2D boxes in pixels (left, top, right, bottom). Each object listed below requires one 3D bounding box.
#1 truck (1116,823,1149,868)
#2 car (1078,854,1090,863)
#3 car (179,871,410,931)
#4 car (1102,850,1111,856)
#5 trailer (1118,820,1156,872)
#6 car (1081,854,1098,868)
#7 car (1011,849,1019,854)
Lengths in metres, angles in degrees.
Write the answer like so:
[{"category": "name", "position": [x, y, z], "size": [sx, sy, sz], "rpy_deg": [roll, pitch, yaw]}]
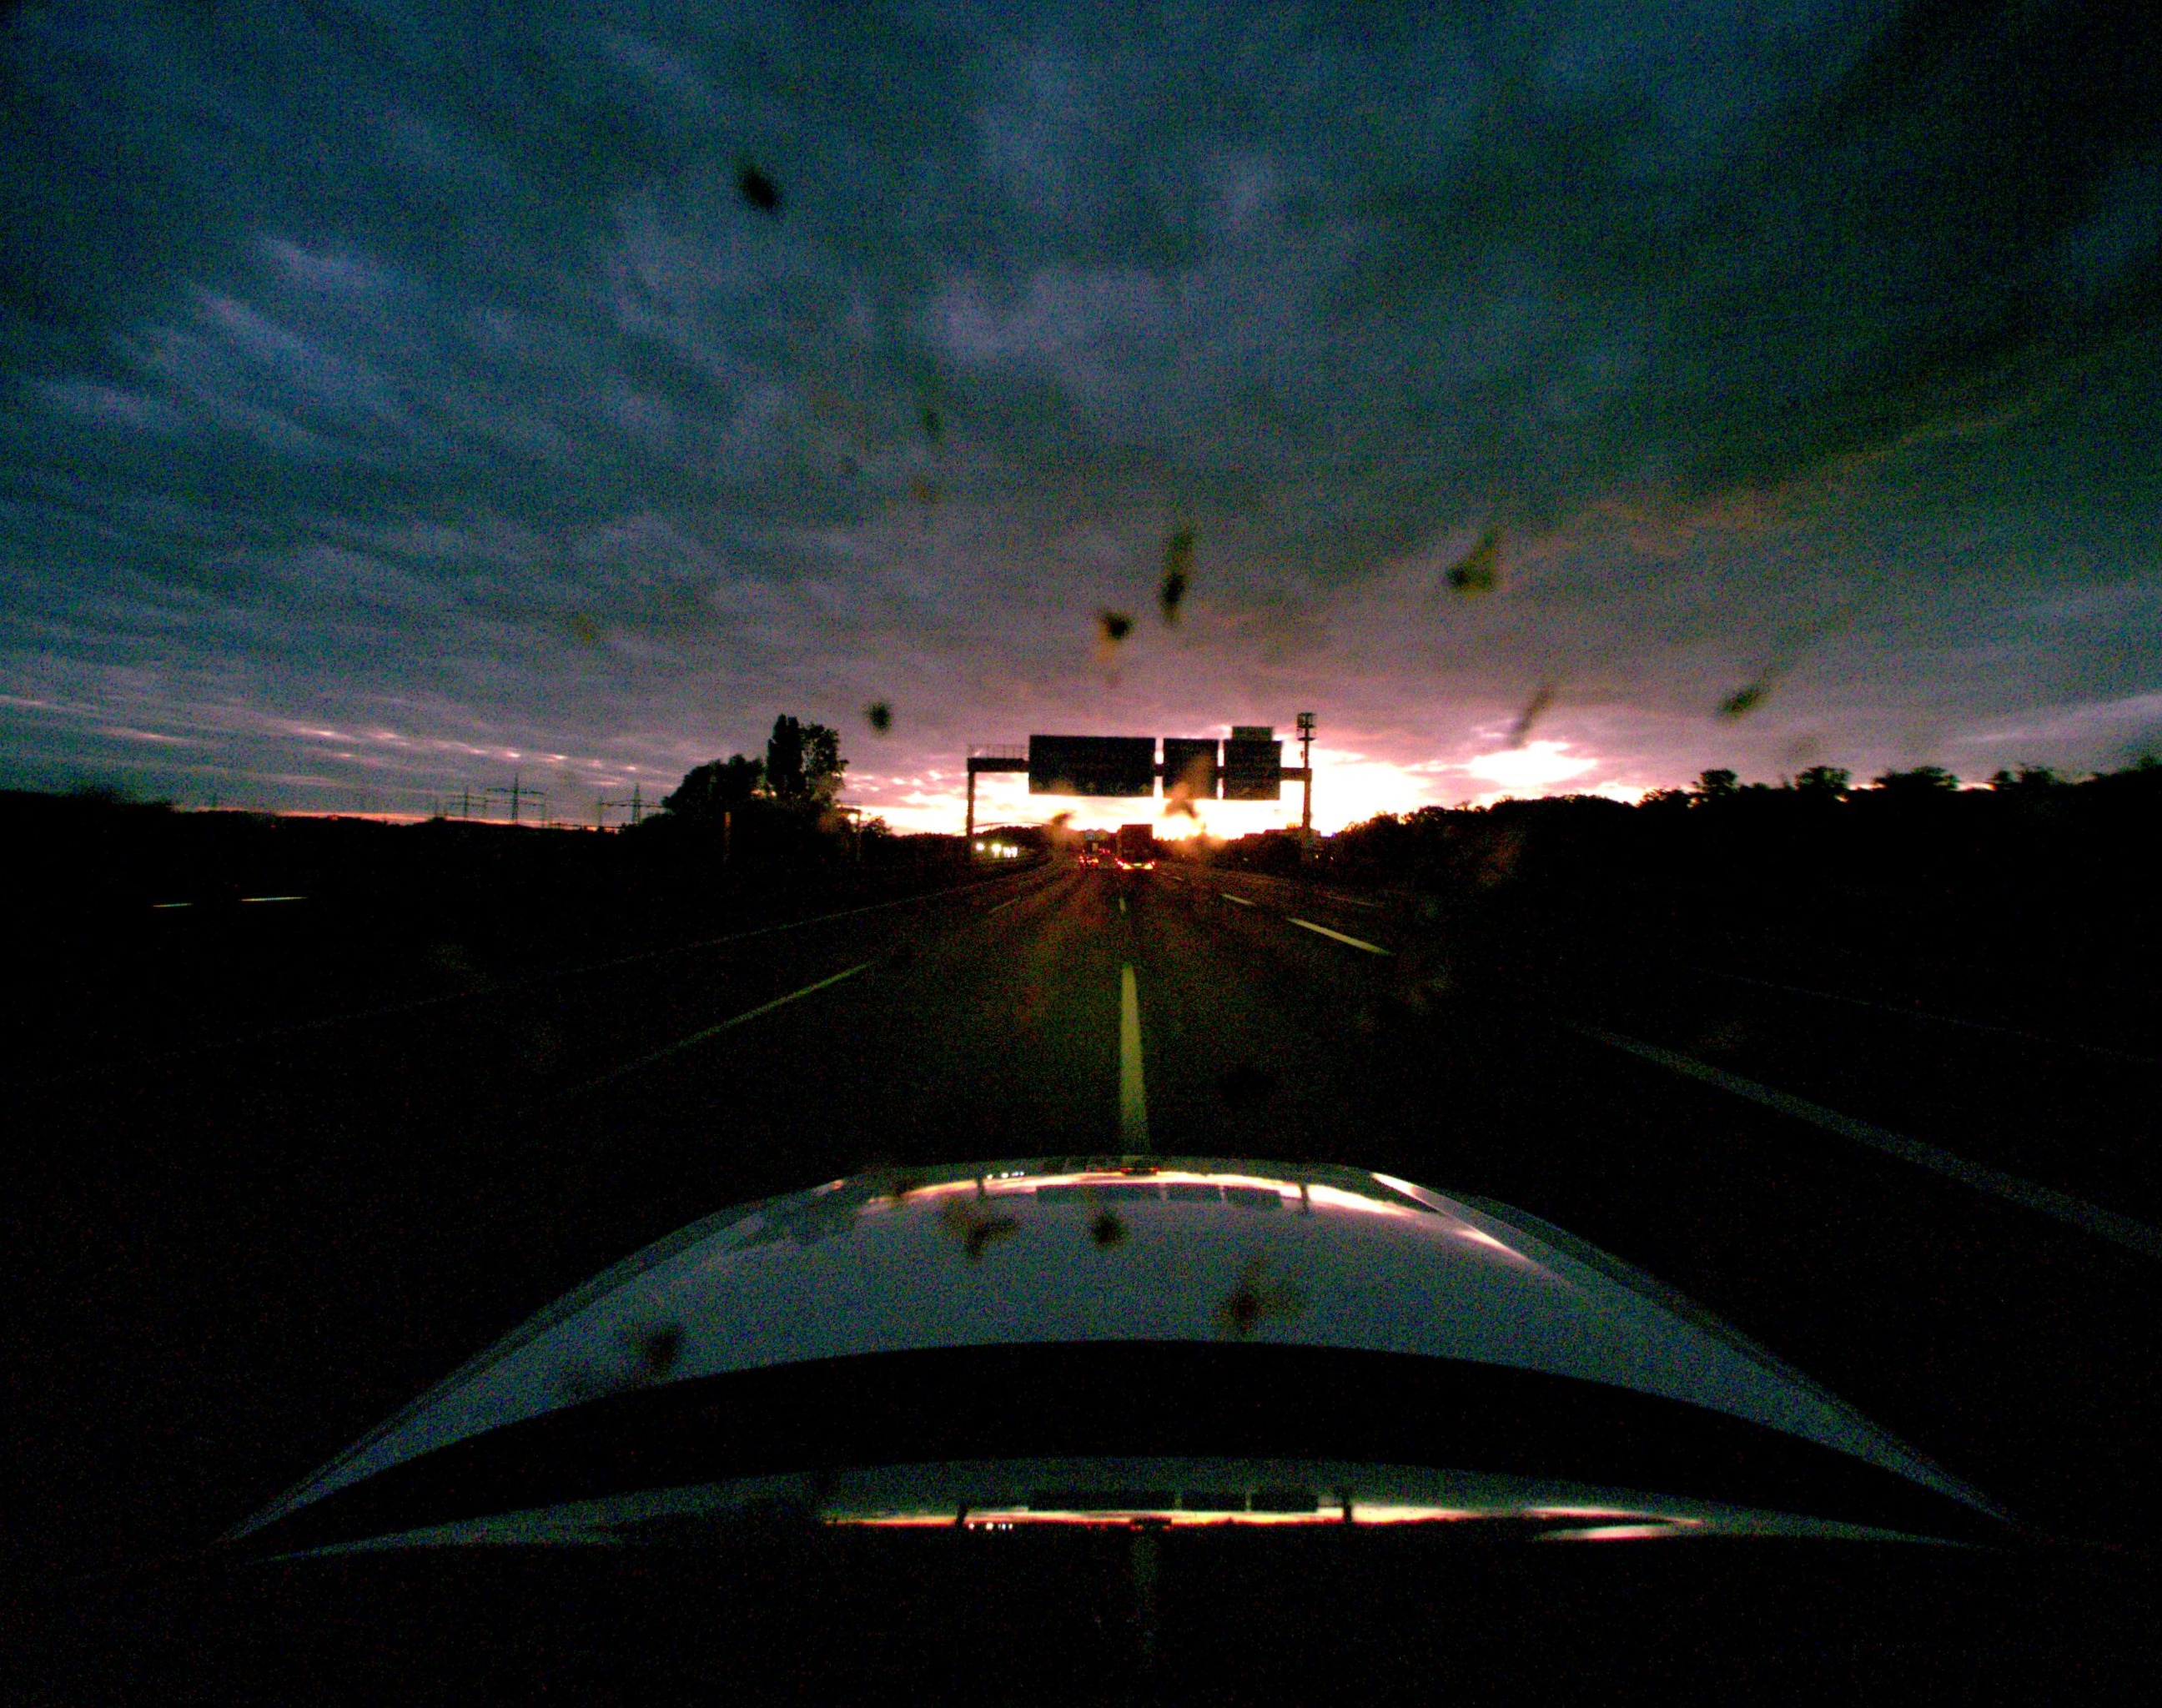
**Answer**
[{"category": "truck", "position": [4.796, -0.820, 77.997], "size": [2.680, 4.071, 10.523], "rpy_deg": [-1, 1, 1]}, {"category": "car", "position": [0.544, 0.692, 134.562], "size": [1.682, 1.401, 3.412], "rpy_deg": [-1, -1, 4]}, {"category": "car", "position": [-21.109, 1.197, 22.162], "size": [1.986, 1.404, 4.331], "rpy_deg": [0, 0, 1]}, {"category": "car", "position": [7.406, -0.297, 236.955], "size": [1.990, 1.717, 3.993], "rpy_deg": [0, -1, -5]}, {"category": "trailer", "position": [4.572, -0.678, 68.309], "size": [2.712, 4.071, 8.833], "rpy_deg": [-1, 1, 1]}, {"category": "car", "position": [0.886, 0.779, 86.073], "size": [1.685, 1.401, 3.406], "rpy_deg": [0, -1, -2]}, {"category": "car", "position": [-18.320, -0.721, 227.290], "size": [1.988, 1.358, 4.862], "rpy_deg": [-1, 1, -1]}]
